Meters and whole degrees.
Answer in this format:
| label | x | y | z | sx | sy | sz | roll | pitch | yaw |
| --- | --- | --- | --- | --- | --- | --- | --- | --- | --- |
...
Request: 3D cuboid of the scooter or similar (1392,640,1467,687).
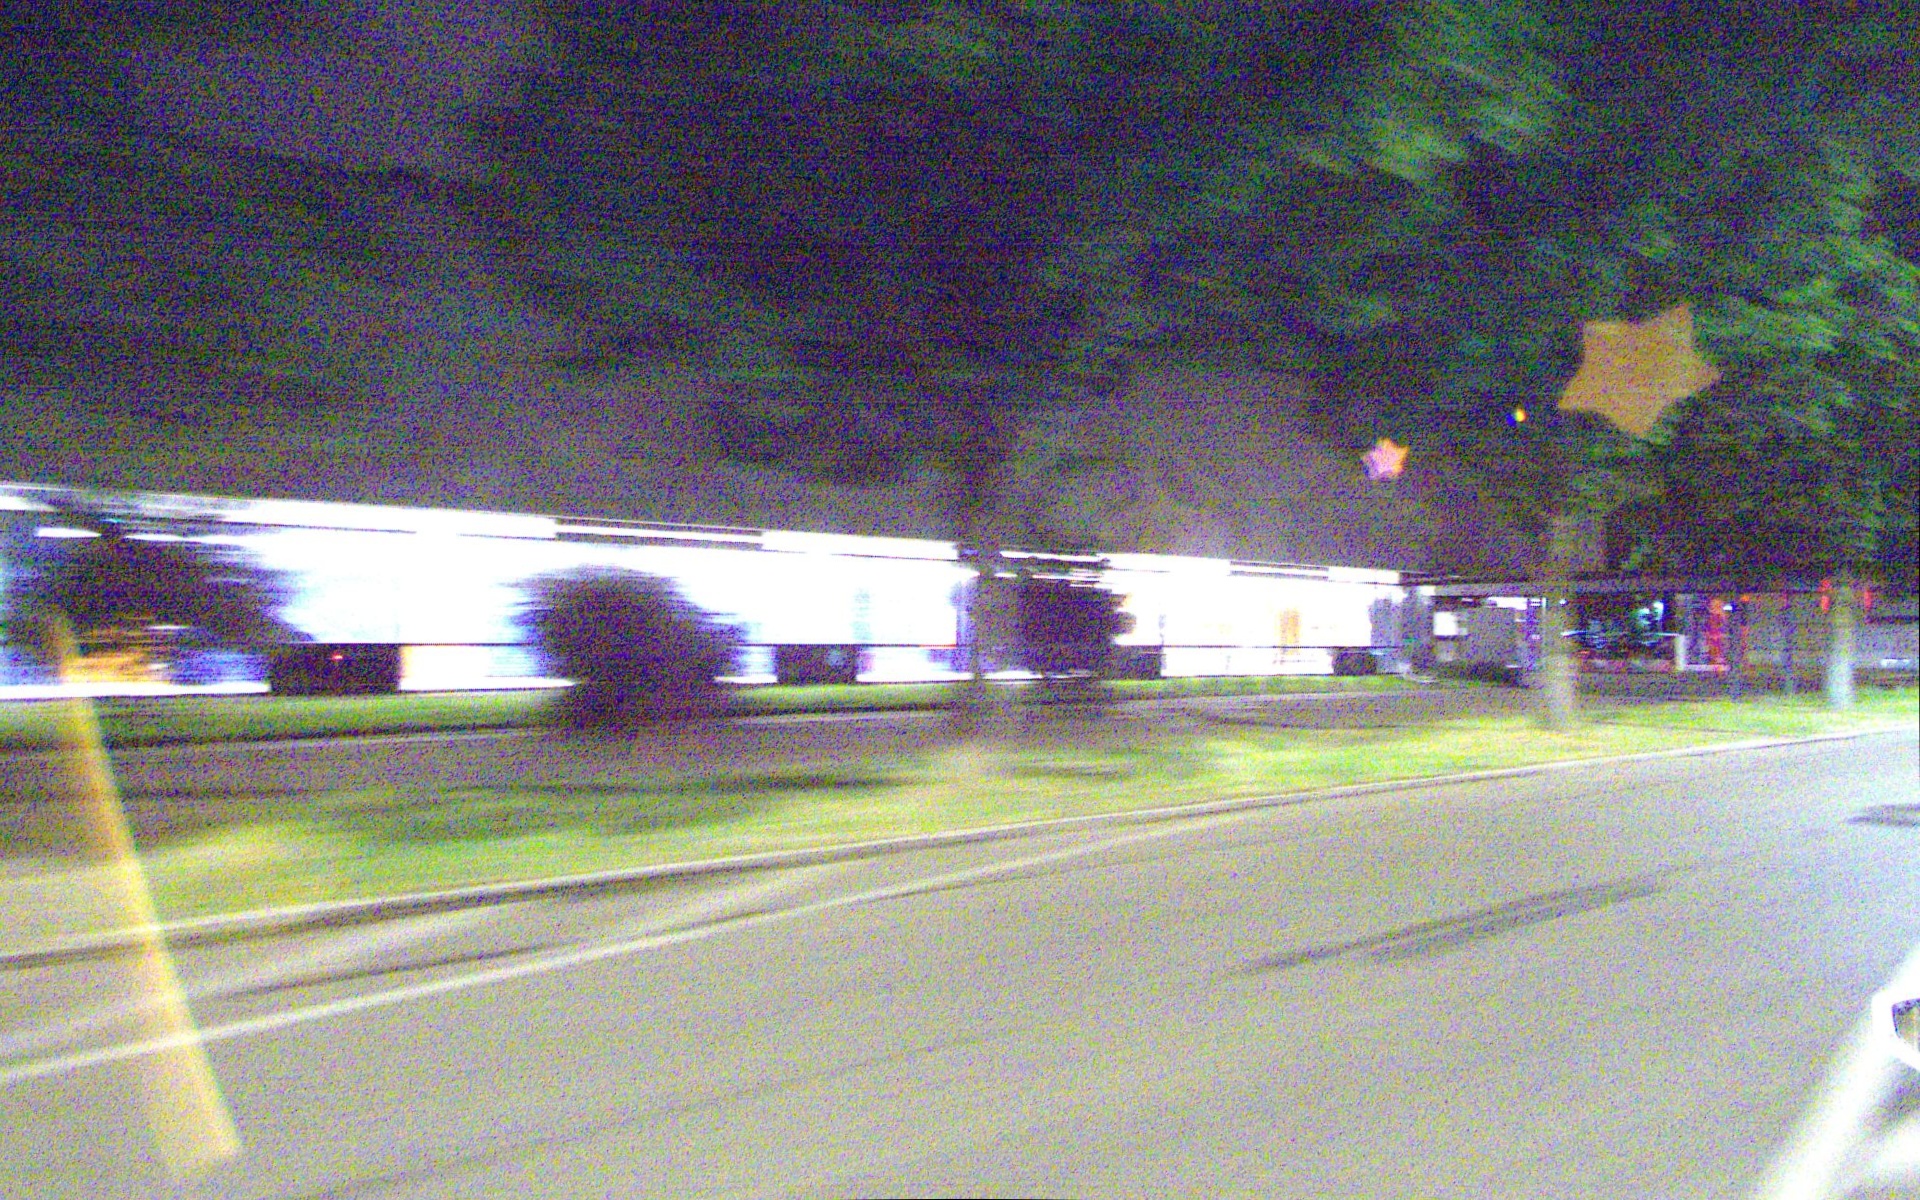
| label | x | y | z | sx | sy | sz | roll | pitch | yaw |
| --- | --- | --- | --- | --- | --- | --- | --- | --- | --- |
| scooter or similar | 11.607 | 1.561 | 24.881 | 0.537 | 1.021 | 1.667 | 1 | 1 | -28 |
